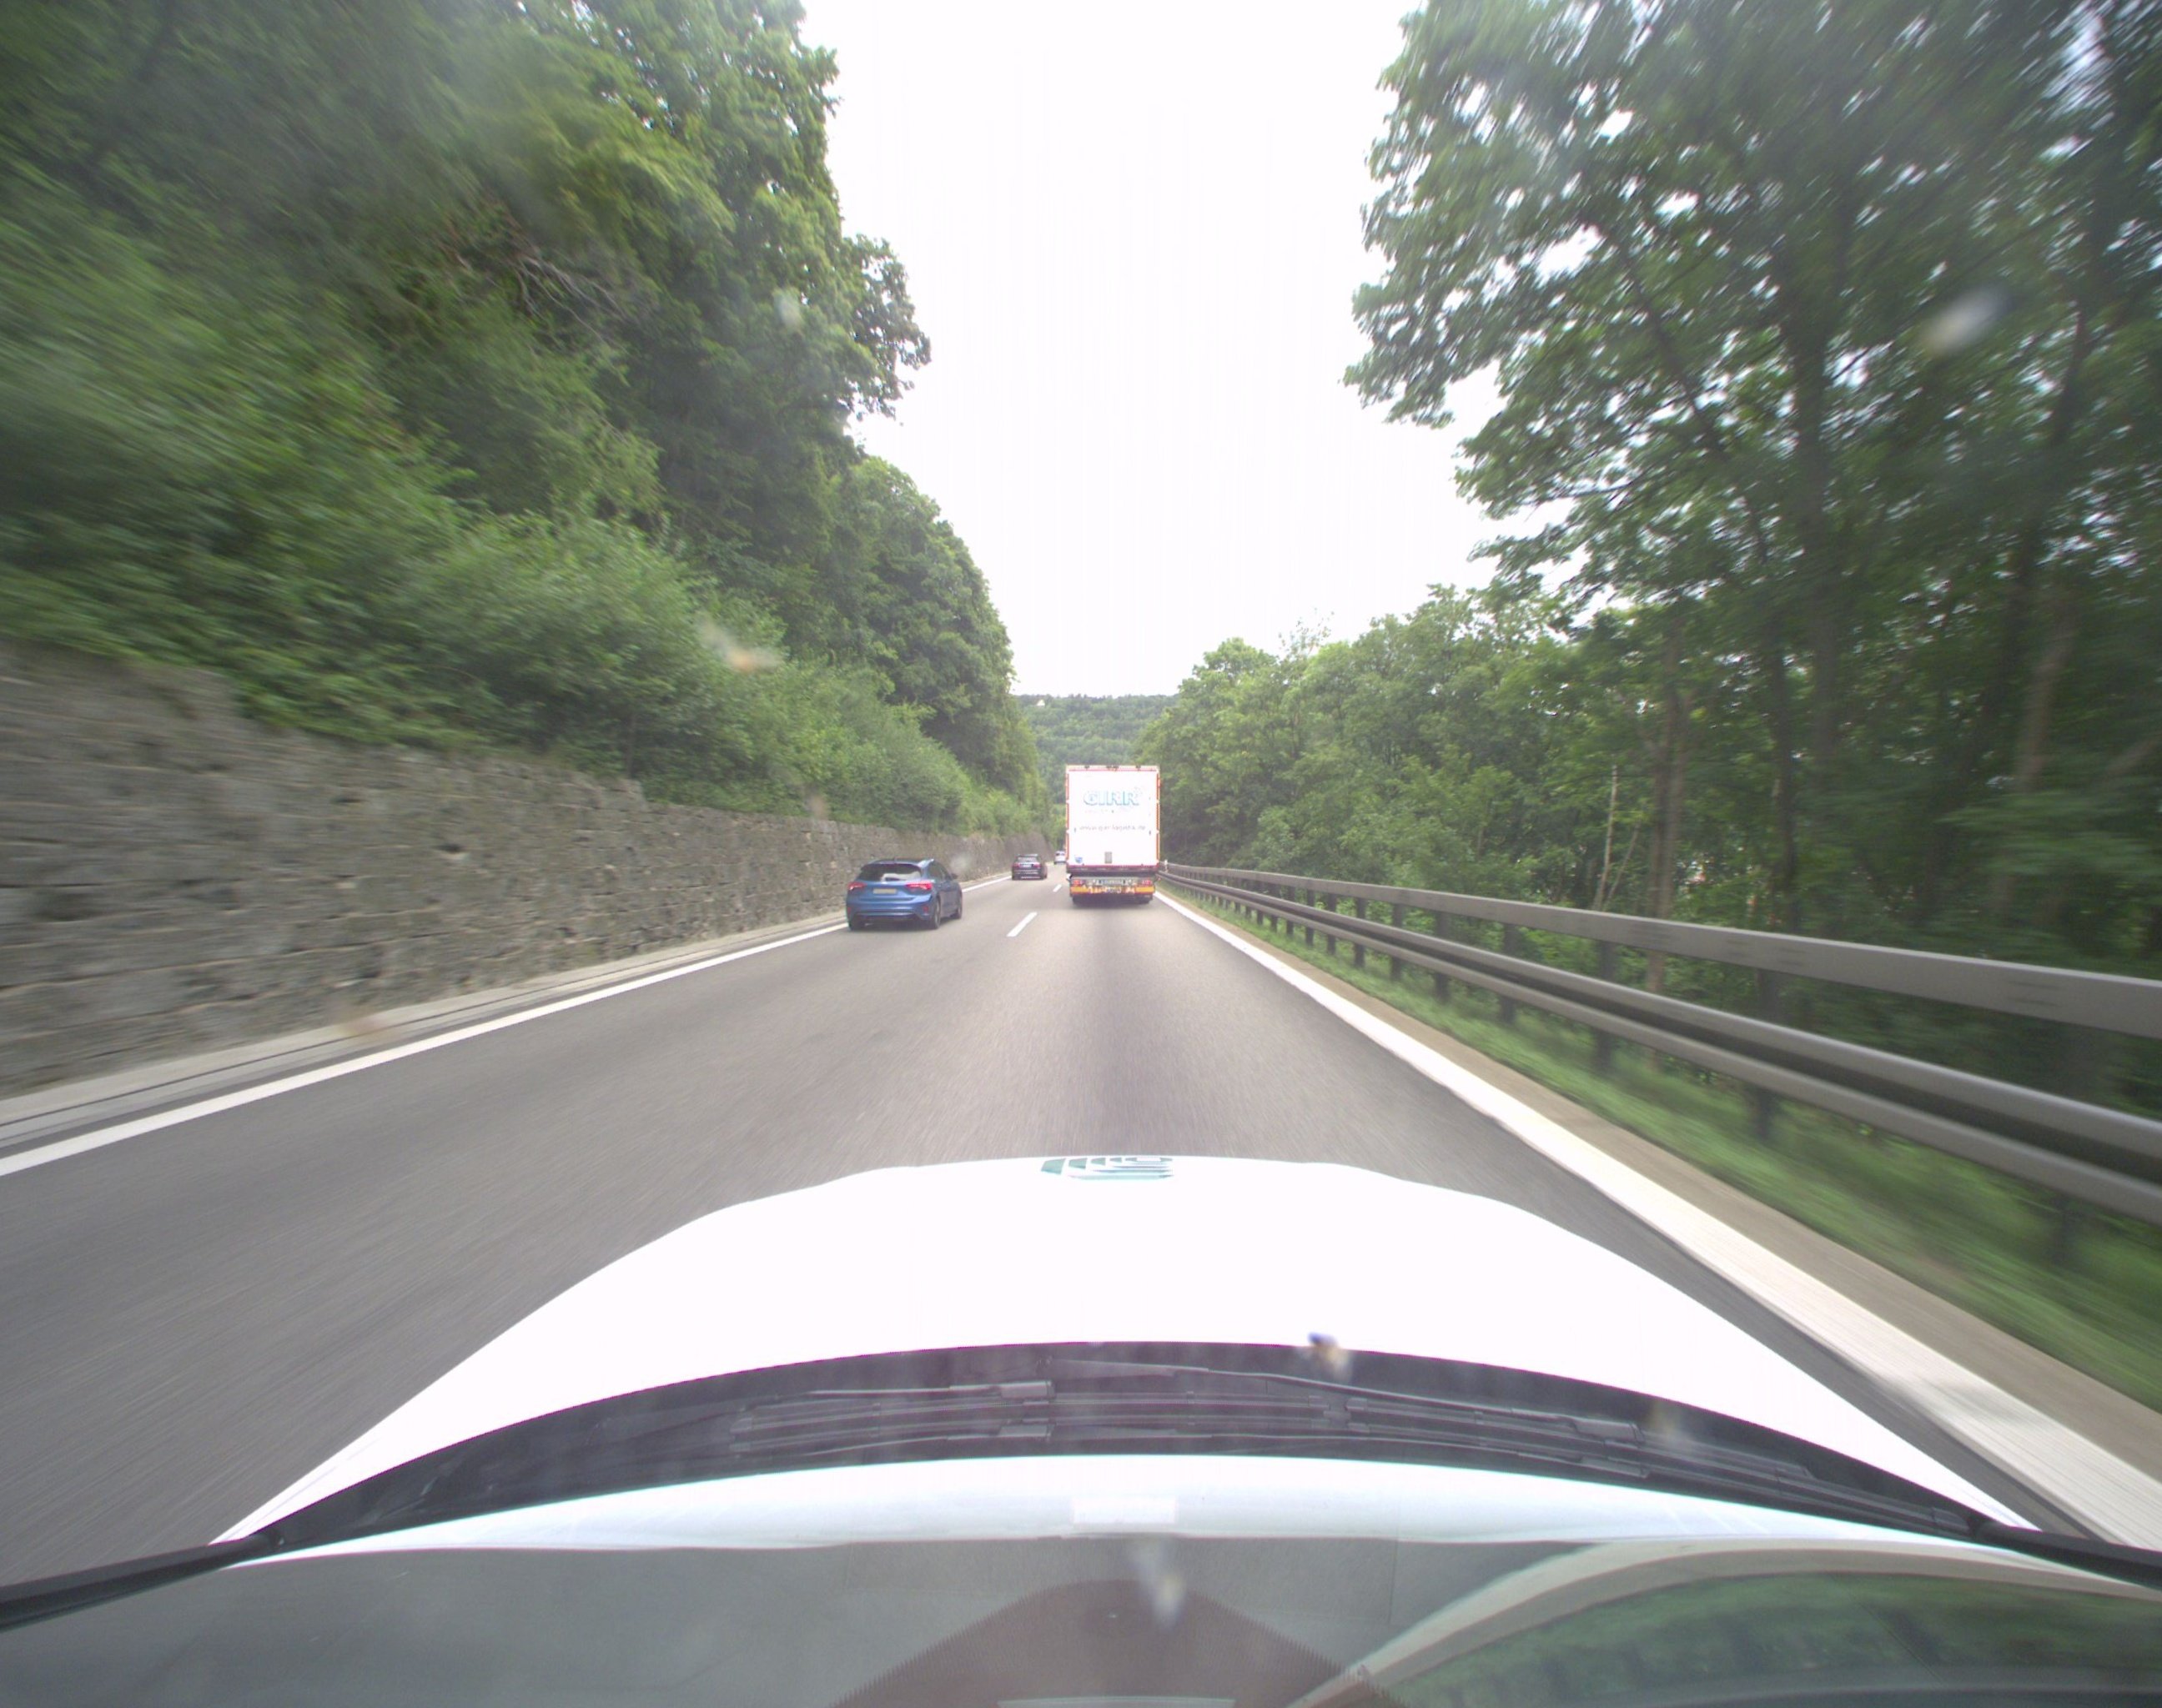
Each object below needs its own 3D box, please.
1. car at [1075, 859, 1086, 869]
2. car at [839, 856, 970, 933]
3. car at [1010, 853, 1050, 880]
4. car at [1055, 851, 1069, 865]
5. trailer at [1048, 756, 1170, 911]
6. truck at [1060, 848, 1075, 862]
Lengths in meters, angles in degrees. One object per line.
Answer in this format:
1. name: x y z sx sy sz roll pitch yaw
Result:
1. car: -0.081 2.038 168.795 2.010 1.914 5.567 2 0 3
2. car: -3.698 0.778 17.905 1.829 1.469 4.555 0 0 1
3. car: -2.923 0.712 47.615 1.754 1.463 5.126 0 0 2
4. car: -2.389 0.528 103.399 1.628 1.726 4.345 1 0 1
5. trailer: 0.763 -0.601 26.756 3.123 4.042 9.438 3 0 0
6. truck: -2.263 0.196 137.998 2.341 2.274 6.848 2 0 0
